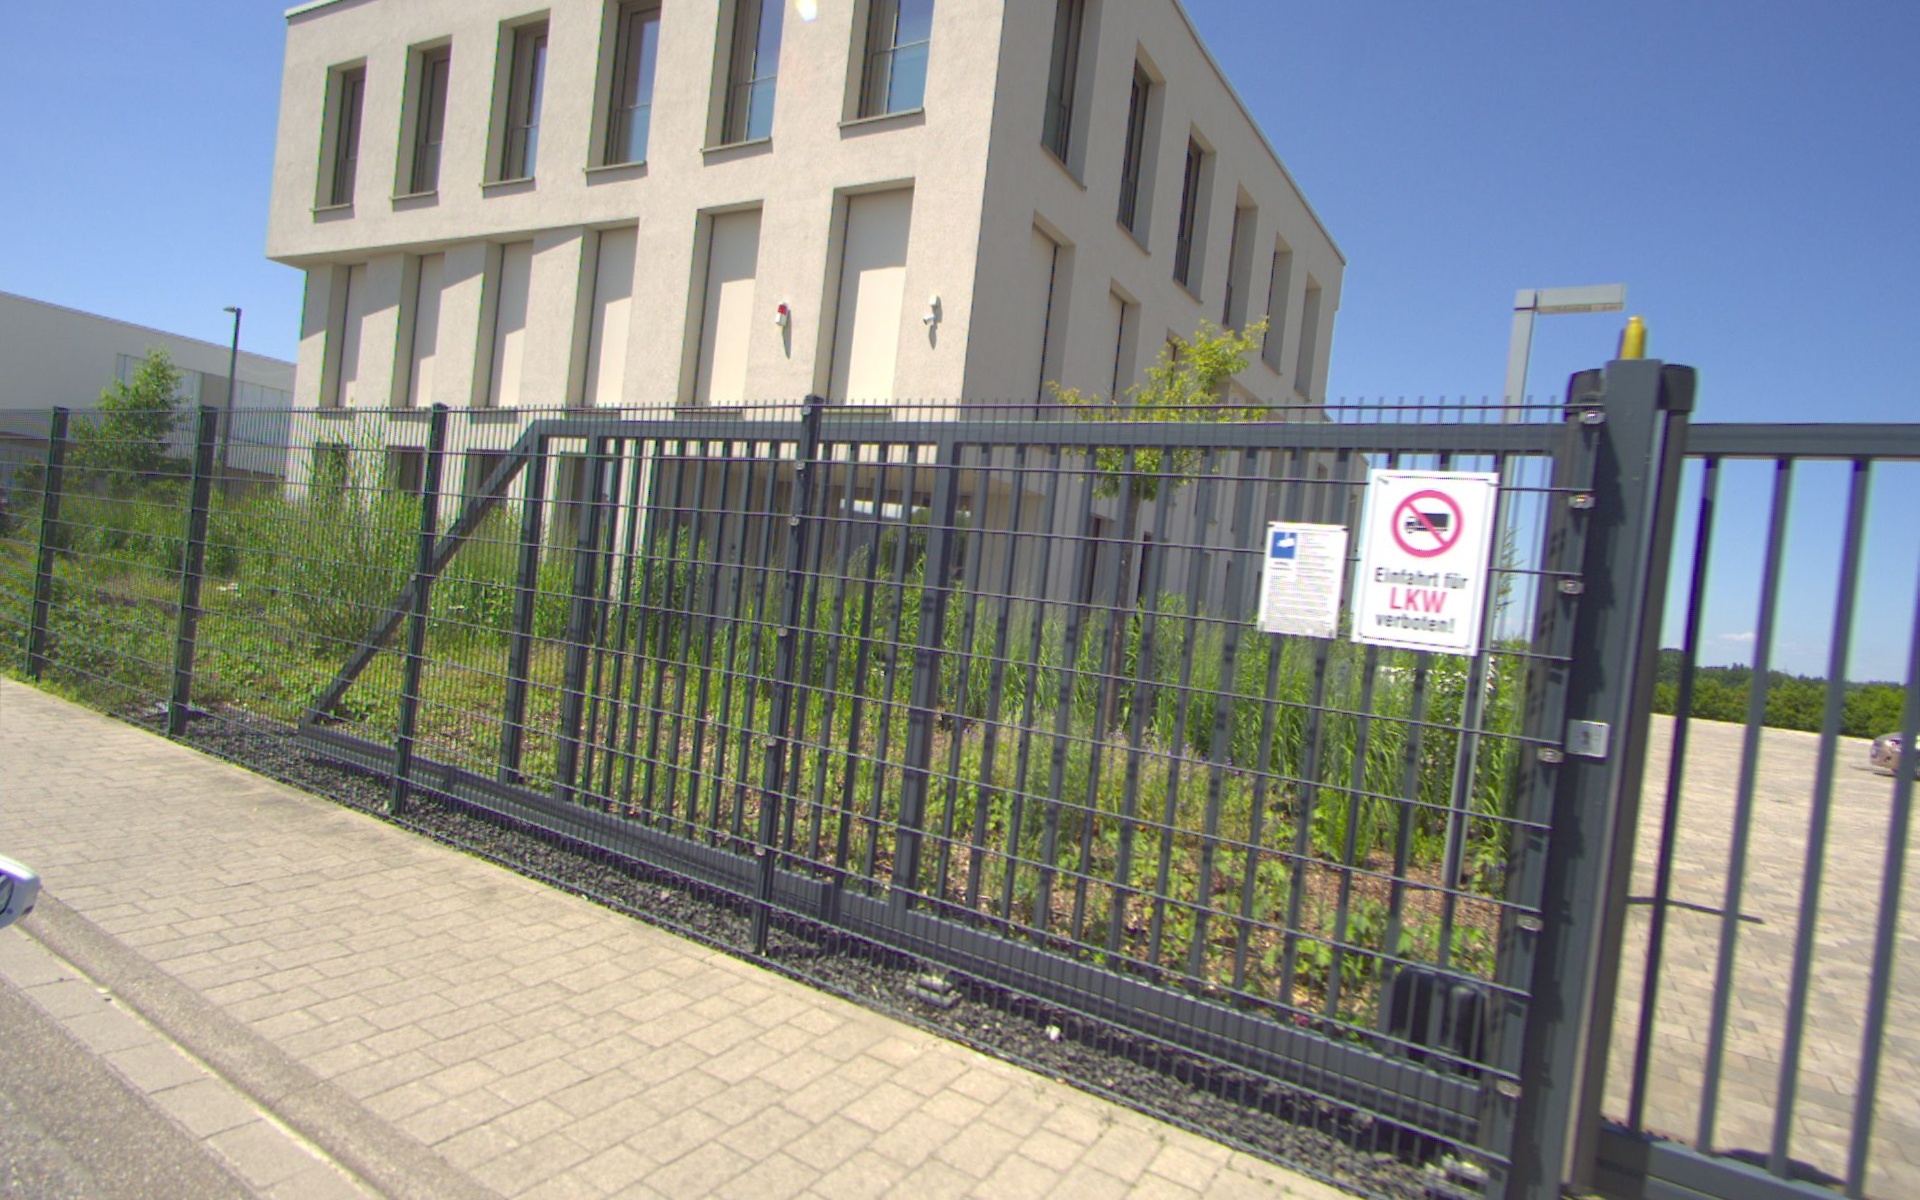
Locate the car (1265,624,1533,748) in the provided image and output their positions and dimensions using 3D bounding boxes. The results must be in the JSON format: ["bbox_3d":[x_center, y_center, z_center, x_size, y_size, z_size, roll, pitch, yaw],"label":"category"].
[{"bbox_3d":[8.567,1.600,19.724,4.443,1.608,1.996,8,1,31],"label":"car"}]

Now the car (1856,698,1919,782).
[{"bbox_3d":[21.245,3.100,20.587,3.934,1.579,1.868,7,1,32],"label":"car"}]

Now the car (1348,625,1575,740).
[{"bbox_3d":[11.792,1.882,23.777,4.443,1.915,1.996,8,1,31],"label":"car"}]
